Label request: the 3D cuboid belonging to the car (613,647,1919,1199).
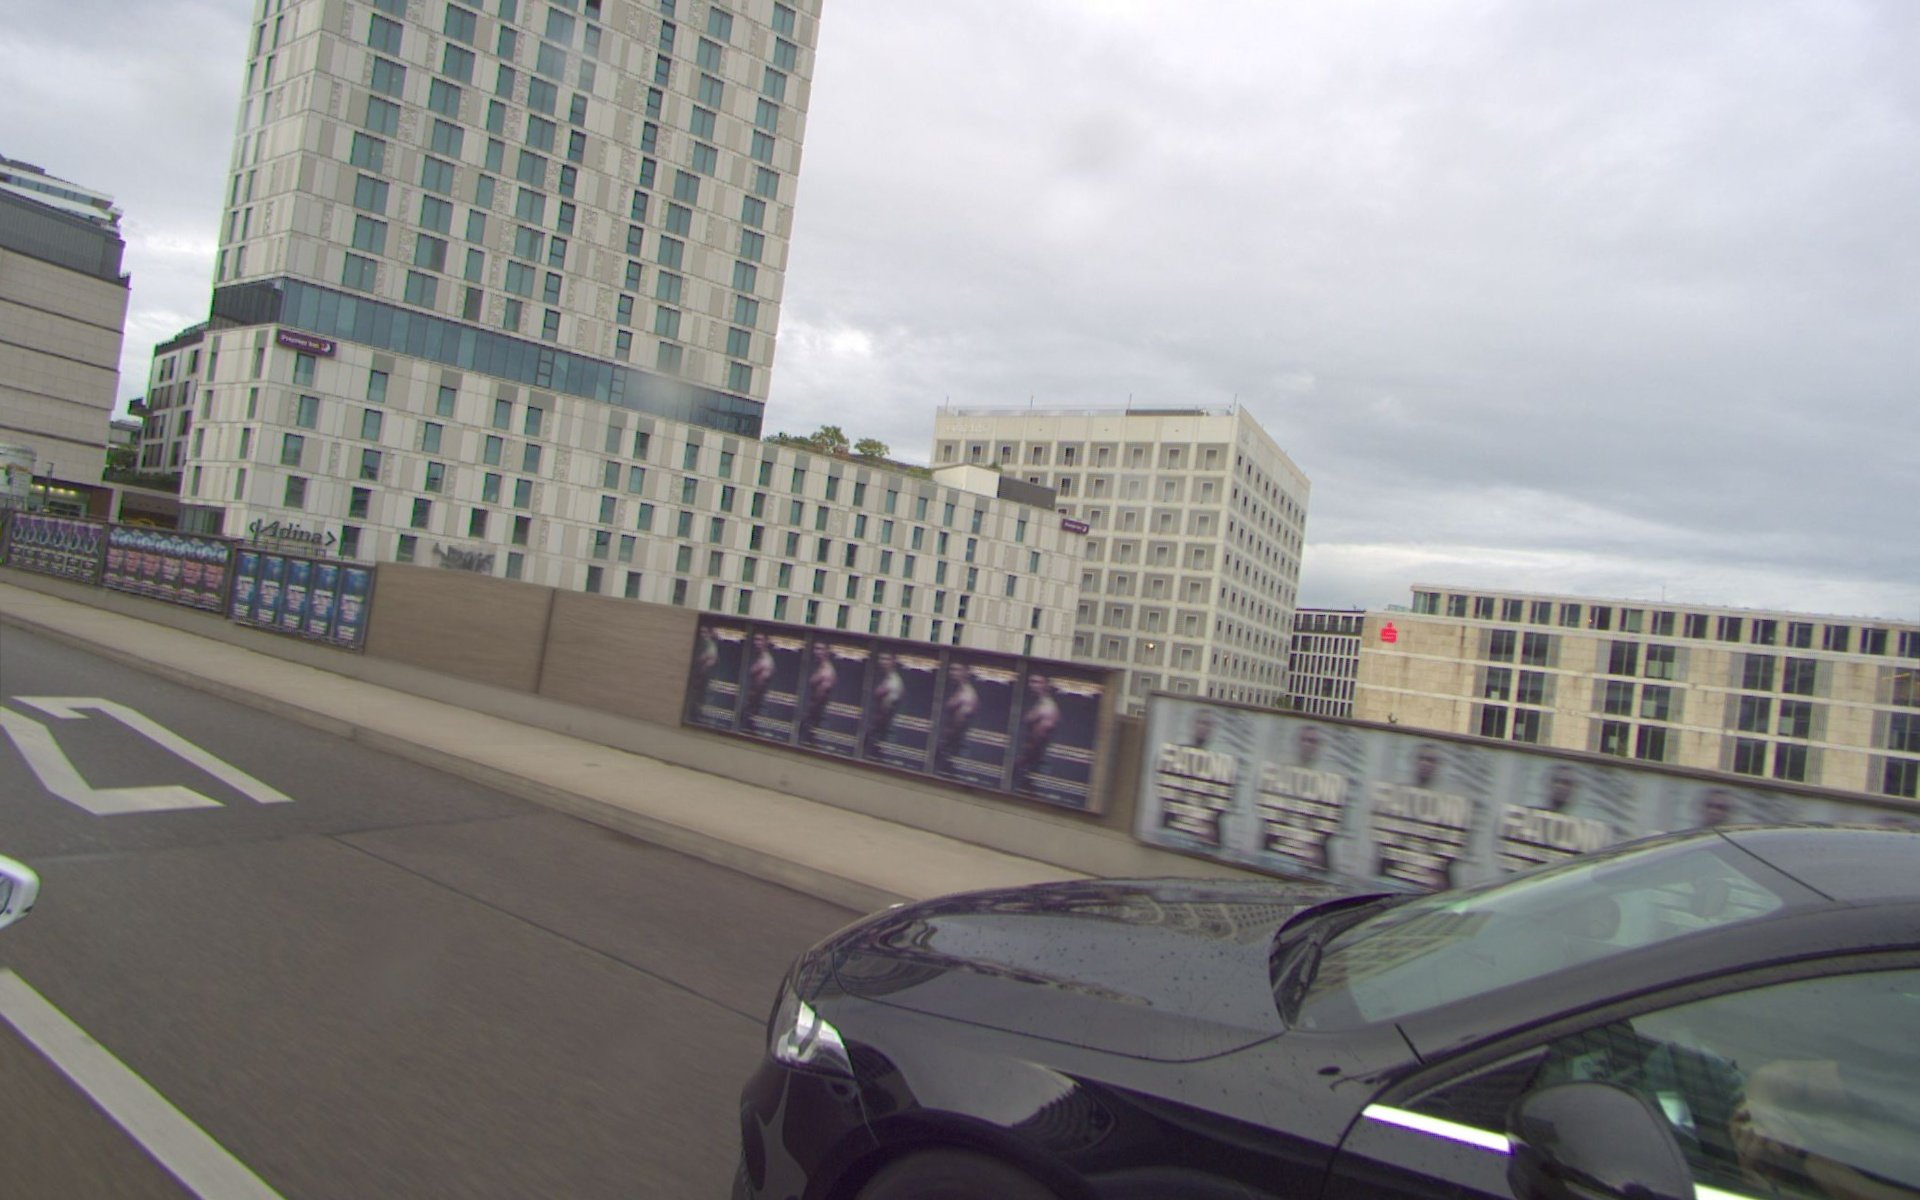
[{"bbox_3d":[1.518,1.040,1.701,4.086,1.392,1.726,6,-2,31],"label":"car"}]
